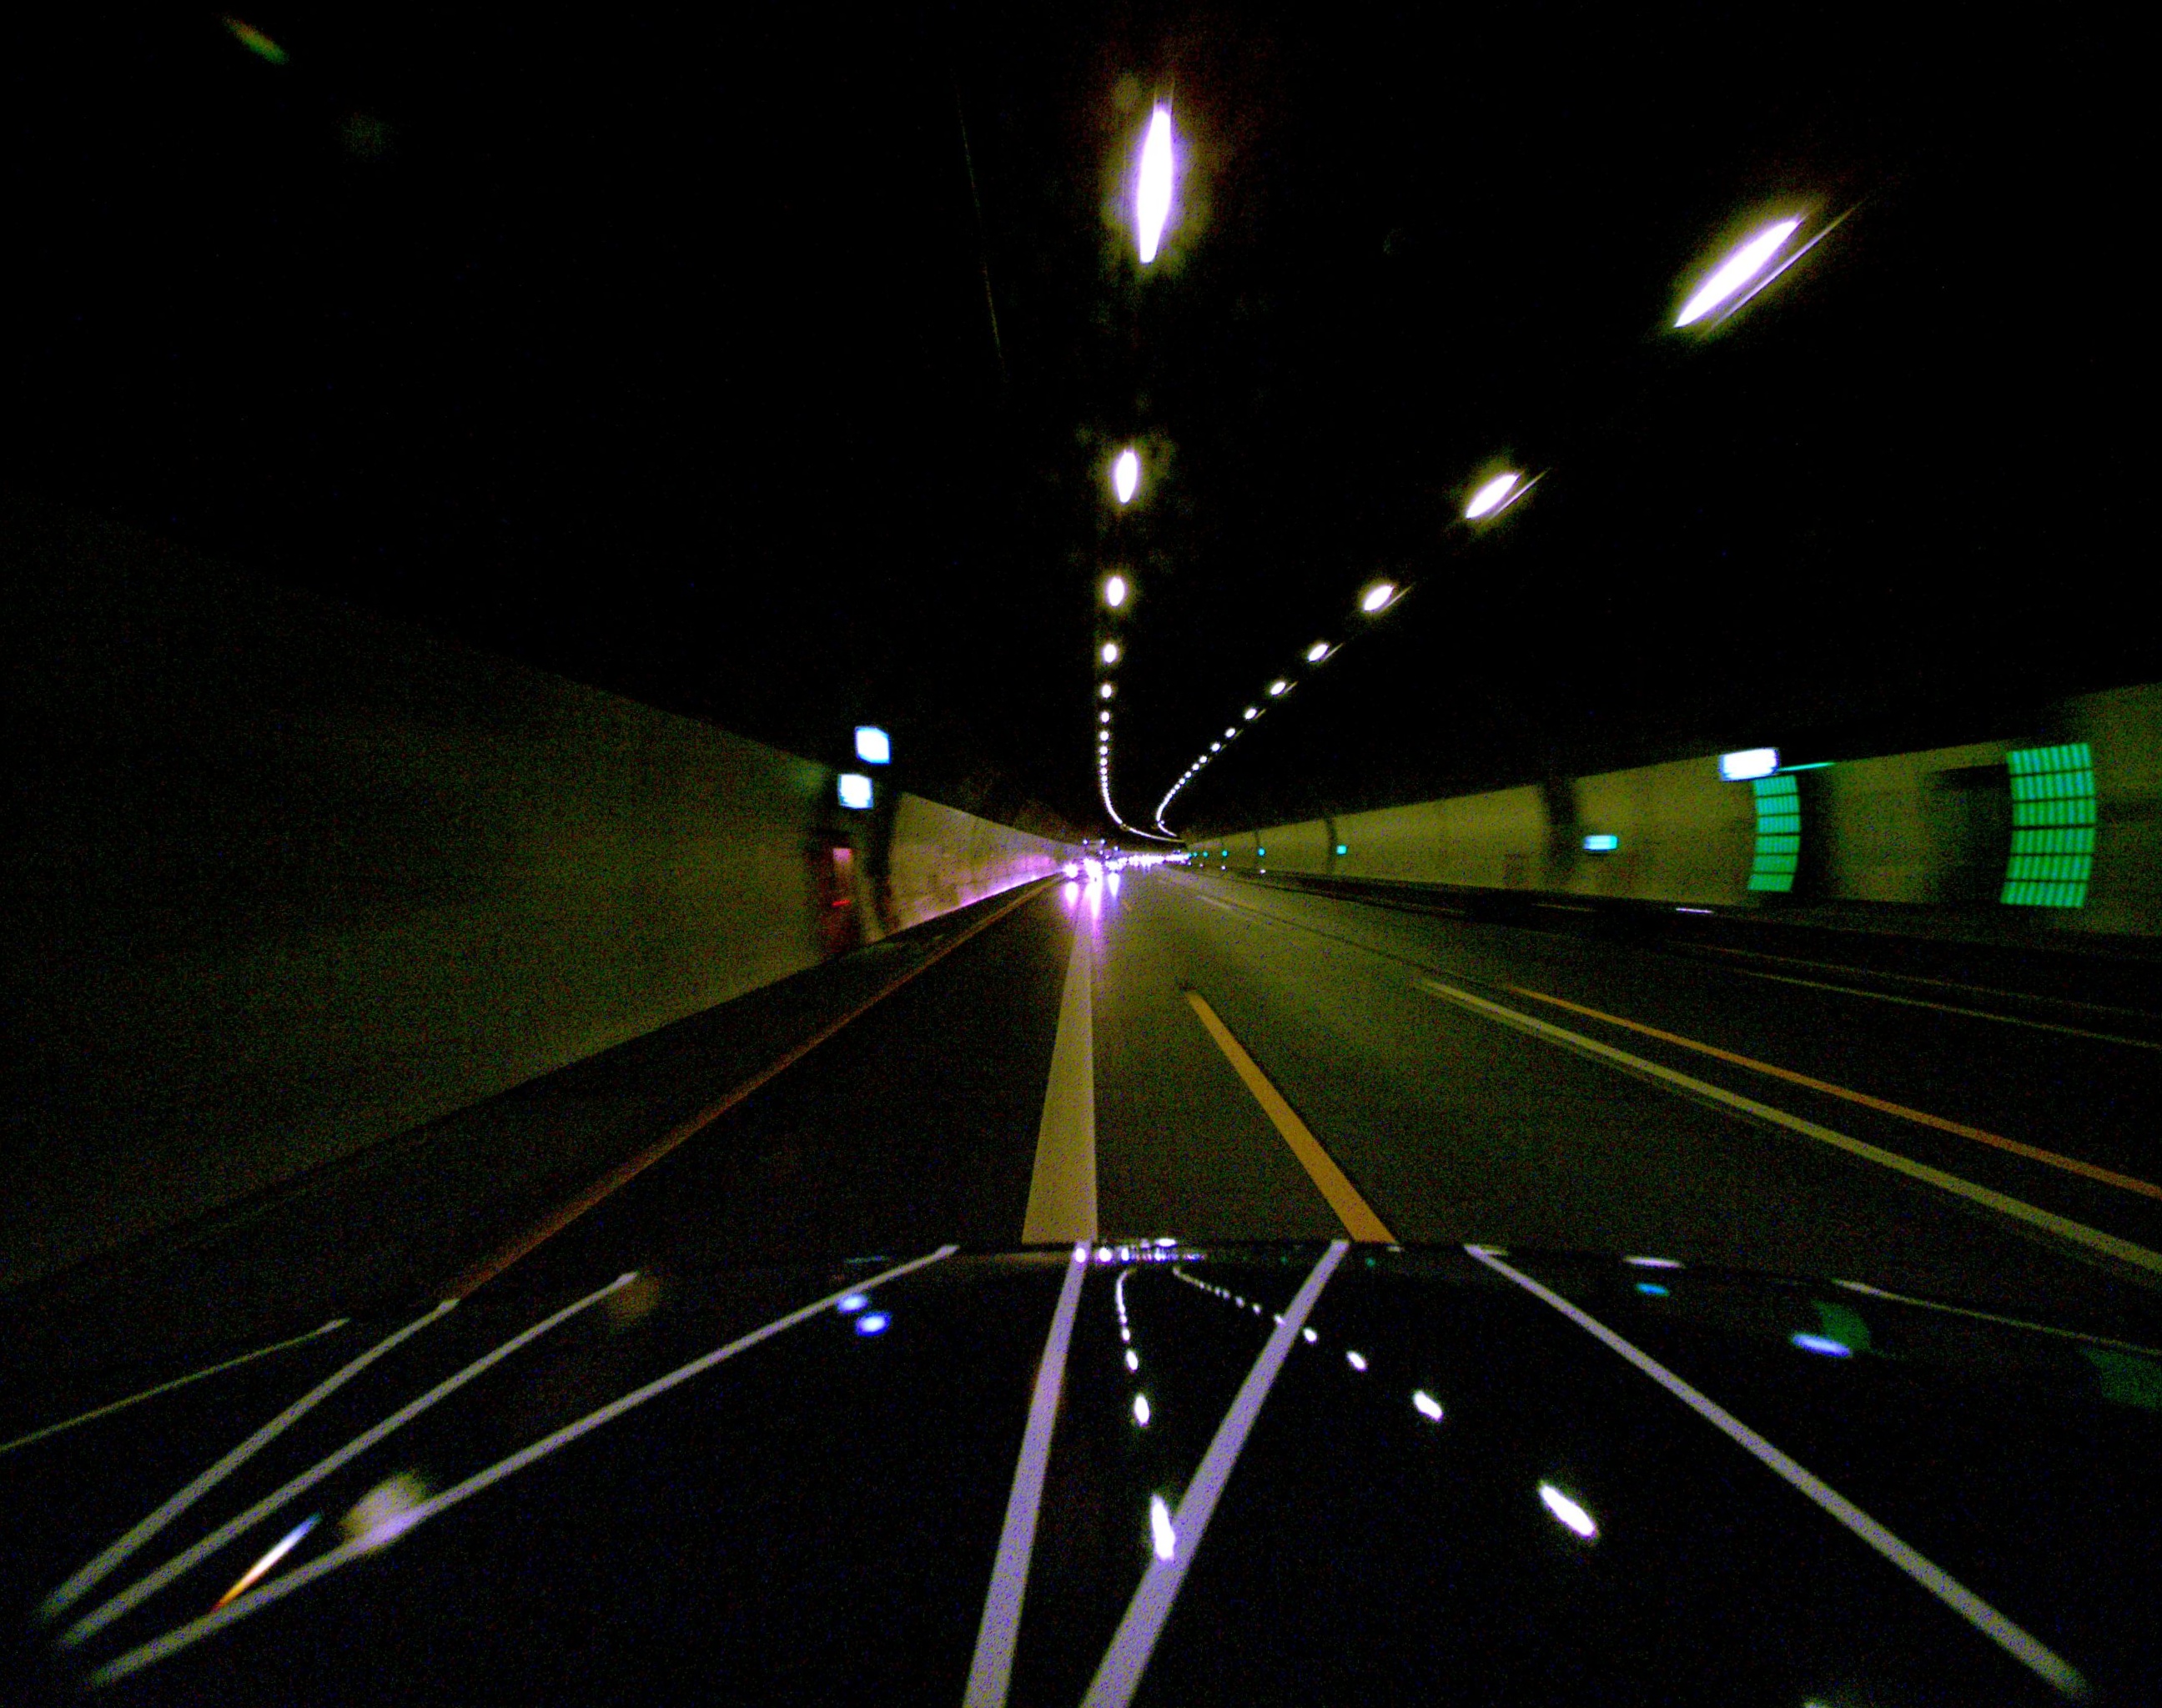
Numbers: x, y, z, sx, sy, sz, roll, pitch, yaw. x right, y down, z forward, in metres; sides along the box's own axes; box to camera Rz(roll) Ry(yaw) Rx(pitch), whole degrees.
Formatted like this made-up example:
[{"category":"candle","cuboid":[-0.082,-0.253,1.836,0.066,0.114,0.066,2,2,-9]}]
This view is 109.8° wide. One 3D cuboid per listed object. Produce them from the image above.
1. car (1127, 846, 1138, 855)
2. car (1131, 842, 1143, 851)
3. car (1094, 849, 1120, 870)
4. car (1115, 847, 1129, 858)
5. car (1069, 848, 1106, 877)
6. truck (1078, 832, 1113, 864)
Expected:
[{"category":"car","cuboid":[11.390,-0.813,168.433,1.997,1.893,4.003,-2,0,10]},{"category":"car","cuboid":[13.619,-1.844,185.127,1.996,1.917,4.389,-2,0,14]},{"category":"car","cuboid":[2.288,0.448,65.090,1.998,1.655,4.001,-3,1,4]},{"category":"car","cuboid":[7.631,-0.266,141.796,1.997,1.893,4.003,-2,0,11]},{"category":"car","cuboid":[0.470,0.510,48.071,2.171,1.709,4.481,-2,0,2]},{"category":"truck","cuboid":[1.696,-0.670,83.947,2.988,3.161,10.512,-2,0,5]}]
